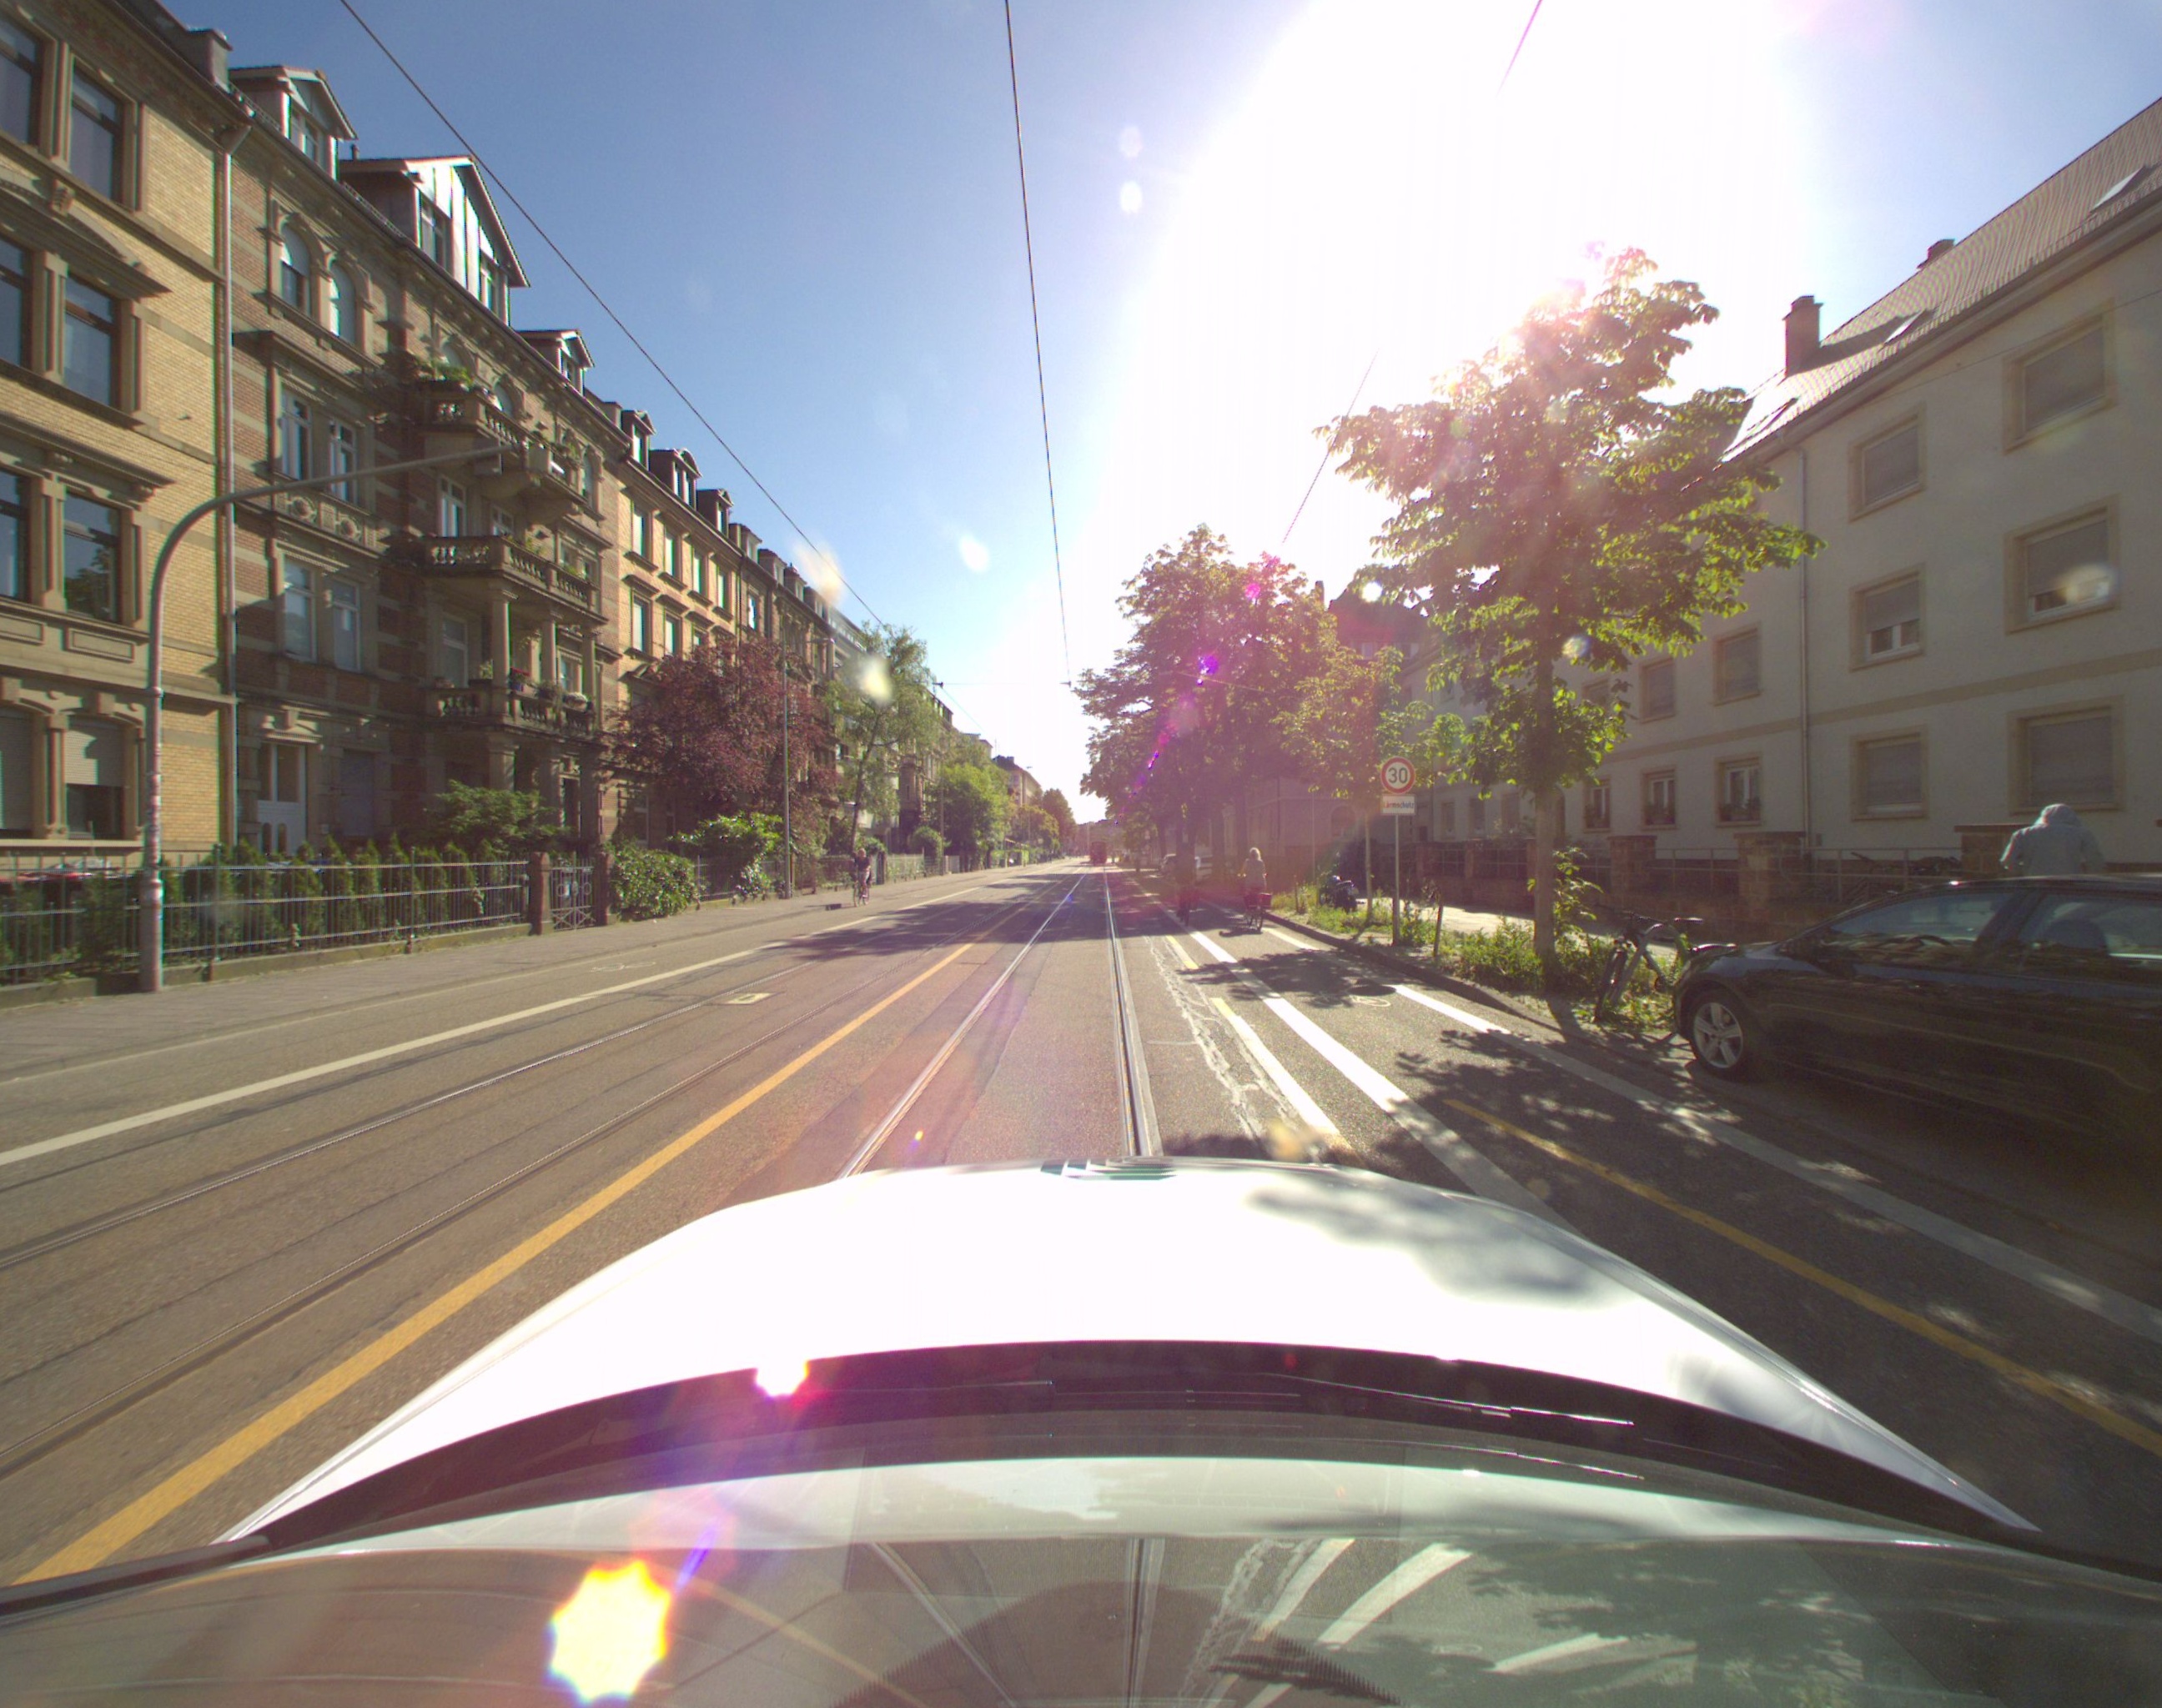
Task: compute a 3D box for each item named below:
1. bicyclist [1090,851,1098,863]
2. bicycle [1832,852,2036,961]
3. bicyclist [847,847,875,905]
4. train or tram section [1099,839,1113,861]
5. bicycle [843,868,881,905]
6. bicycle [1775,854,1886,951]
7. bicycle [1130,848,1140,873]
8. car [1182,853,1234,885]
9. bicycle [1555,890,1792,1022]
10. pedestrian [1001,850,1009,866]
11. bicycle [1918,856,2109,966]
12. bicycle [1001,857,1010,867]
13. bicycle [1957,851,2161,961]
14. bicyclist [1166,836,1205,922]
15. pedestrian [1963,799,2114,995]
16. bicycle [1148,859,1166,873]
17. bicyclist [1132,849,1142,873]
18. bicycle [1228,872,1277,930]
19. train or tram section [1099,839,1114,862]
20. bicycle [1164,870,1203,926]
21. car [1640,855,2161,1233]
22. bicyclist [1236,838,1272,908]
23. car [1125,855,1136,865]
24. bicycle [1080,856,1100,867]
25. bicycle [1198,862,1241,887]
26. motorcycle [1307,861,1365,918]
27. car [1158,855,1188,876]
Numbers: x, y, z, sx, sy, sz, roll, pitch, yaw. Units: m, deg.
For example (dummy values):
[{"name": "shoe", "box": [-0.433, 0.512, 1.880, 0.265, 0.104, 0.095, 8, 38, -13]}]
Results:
[{"name": "bicyclist", "box": [1.442, 0.372, 90.075, 0.766, 1.291, 0.736, 1, 0, 17]}, {"name": "bicycle", "box": [9.952, 0.558, 9.617, 0.446, 1.153, 1.918, 0, 0, 2]}, {"name": "bicyclist", "box": [-7.021, 0.695, 25.981, 0.658, 1.801, 0.616, -2, -1, 1]}, {"name": "train or tram section", "box": [4.078, -0.608, 132.980, 2.146, 3.431, 6.612, 1, 0, 1]}, {"name": "bicycle", "box": [-7.014, 1.032, 26.185, 0.689, 1.112, 1.719, -2, 0, 1]}, {"name": "bicycle", "box": [10.482, 0.642, 11.446, 0.347, 1.261, 1.427, 1, 0, 6]}, {"name": "bicycle", "box": [3.994, 0.484, 60.739, 0.660, 1.859, 2.261, 1, 0, 3]}, {"name": "car", "box": [6.103, 0.698, 39.620, 1.624, 1.436, 4.662, -1, 0, -2]}, {"name": "bicycle", "box": [5.472, 0.915, 7.570, 1.789, 1.067, 0.620, -2, 0, -4]}, {"name": "pedestrian", "box": [-8.565, 0.435, 91.363, 0.767, 1.712, 0.669, 1, 0, 1]}, {"name": "bicycle", "box": [10.714, 0.607, 9.437, 0.439, 1.153, 1.575, 1, 0, 2]}, {"name": "bicycle", "box": [-8.259, 0.826, 89.261, 0.634, 1.069, 1.822, 1, 0, -15]}, {"name": "bicycle", "box": [11.556, 0.549, 9.545, 0.542, 1.153, 1.918, 1, 0, 2]}, {"name": "bicyclist", "box": [2.295, 0.545, 17.986, 0.725, 1.848, 0.837, 1, 0, 0]}, {"name": "pedestrian", "box": [8.936, 0.375, 7.634, 0.755, 1.724, 0.583, 1, 0, 30]}, {"name": "bicycle", "box": [5.925, 0.940, 63.438, 1.262, 1.024, 0.706, 1, -1, 9]}, {"name": "bicyclist", "box": [4.145, 0.508, 60.168, 0.643, 1.796, 0.956, 1, 0, 1]}, {"name": "bicycle", "box": [3.664, 0.984, 17.498, 0.689, 1.112, 1.918, 1, 0, 2]}, {"name": "train or tram section", "box": [3.911, -0.599, 126.369, 2.146, 3.431, 6.612, 1, 0, 1]}, {"name": "bicycle", "box": [2.239, 0.939, 17.953, 0.689, 1.112, 1.719, 1, 0, 1]}, {"name": "car", "box": [5.200, 0.758, 4.298, 1.781, 1.464, 4.045, -1, 0, 1]}, {"name": "bicyclist", "box": [3.701, 0.404, 17.423, 0.633, 1.468, 0.616, 1, 0, 1]}, {"name": "car", "box": [8.568, 1.050, 141.198, 1.748, 1.552, 3.678, 1, 0, 1]}, {"name": "bicycle", "box": [0.997, 0.798, 90.208, 2.123, 1.171, 0.806, 1, 0, 16]}, {"name": "bicycle", "box": [6.226, 0.914, 36.706, 1.786, 1.019, 0.620, -3, 0, 0]}, {"name": "motorcycle", "box": [5.831, 0.789, 18.697, 0.494, 1.190, 1.858, -4, 1, -6]}, {"name": "car", "box": [6.523, 0.785, 58.199, 1.742, 1.420, 4.001, -1, 0, 1]}]
